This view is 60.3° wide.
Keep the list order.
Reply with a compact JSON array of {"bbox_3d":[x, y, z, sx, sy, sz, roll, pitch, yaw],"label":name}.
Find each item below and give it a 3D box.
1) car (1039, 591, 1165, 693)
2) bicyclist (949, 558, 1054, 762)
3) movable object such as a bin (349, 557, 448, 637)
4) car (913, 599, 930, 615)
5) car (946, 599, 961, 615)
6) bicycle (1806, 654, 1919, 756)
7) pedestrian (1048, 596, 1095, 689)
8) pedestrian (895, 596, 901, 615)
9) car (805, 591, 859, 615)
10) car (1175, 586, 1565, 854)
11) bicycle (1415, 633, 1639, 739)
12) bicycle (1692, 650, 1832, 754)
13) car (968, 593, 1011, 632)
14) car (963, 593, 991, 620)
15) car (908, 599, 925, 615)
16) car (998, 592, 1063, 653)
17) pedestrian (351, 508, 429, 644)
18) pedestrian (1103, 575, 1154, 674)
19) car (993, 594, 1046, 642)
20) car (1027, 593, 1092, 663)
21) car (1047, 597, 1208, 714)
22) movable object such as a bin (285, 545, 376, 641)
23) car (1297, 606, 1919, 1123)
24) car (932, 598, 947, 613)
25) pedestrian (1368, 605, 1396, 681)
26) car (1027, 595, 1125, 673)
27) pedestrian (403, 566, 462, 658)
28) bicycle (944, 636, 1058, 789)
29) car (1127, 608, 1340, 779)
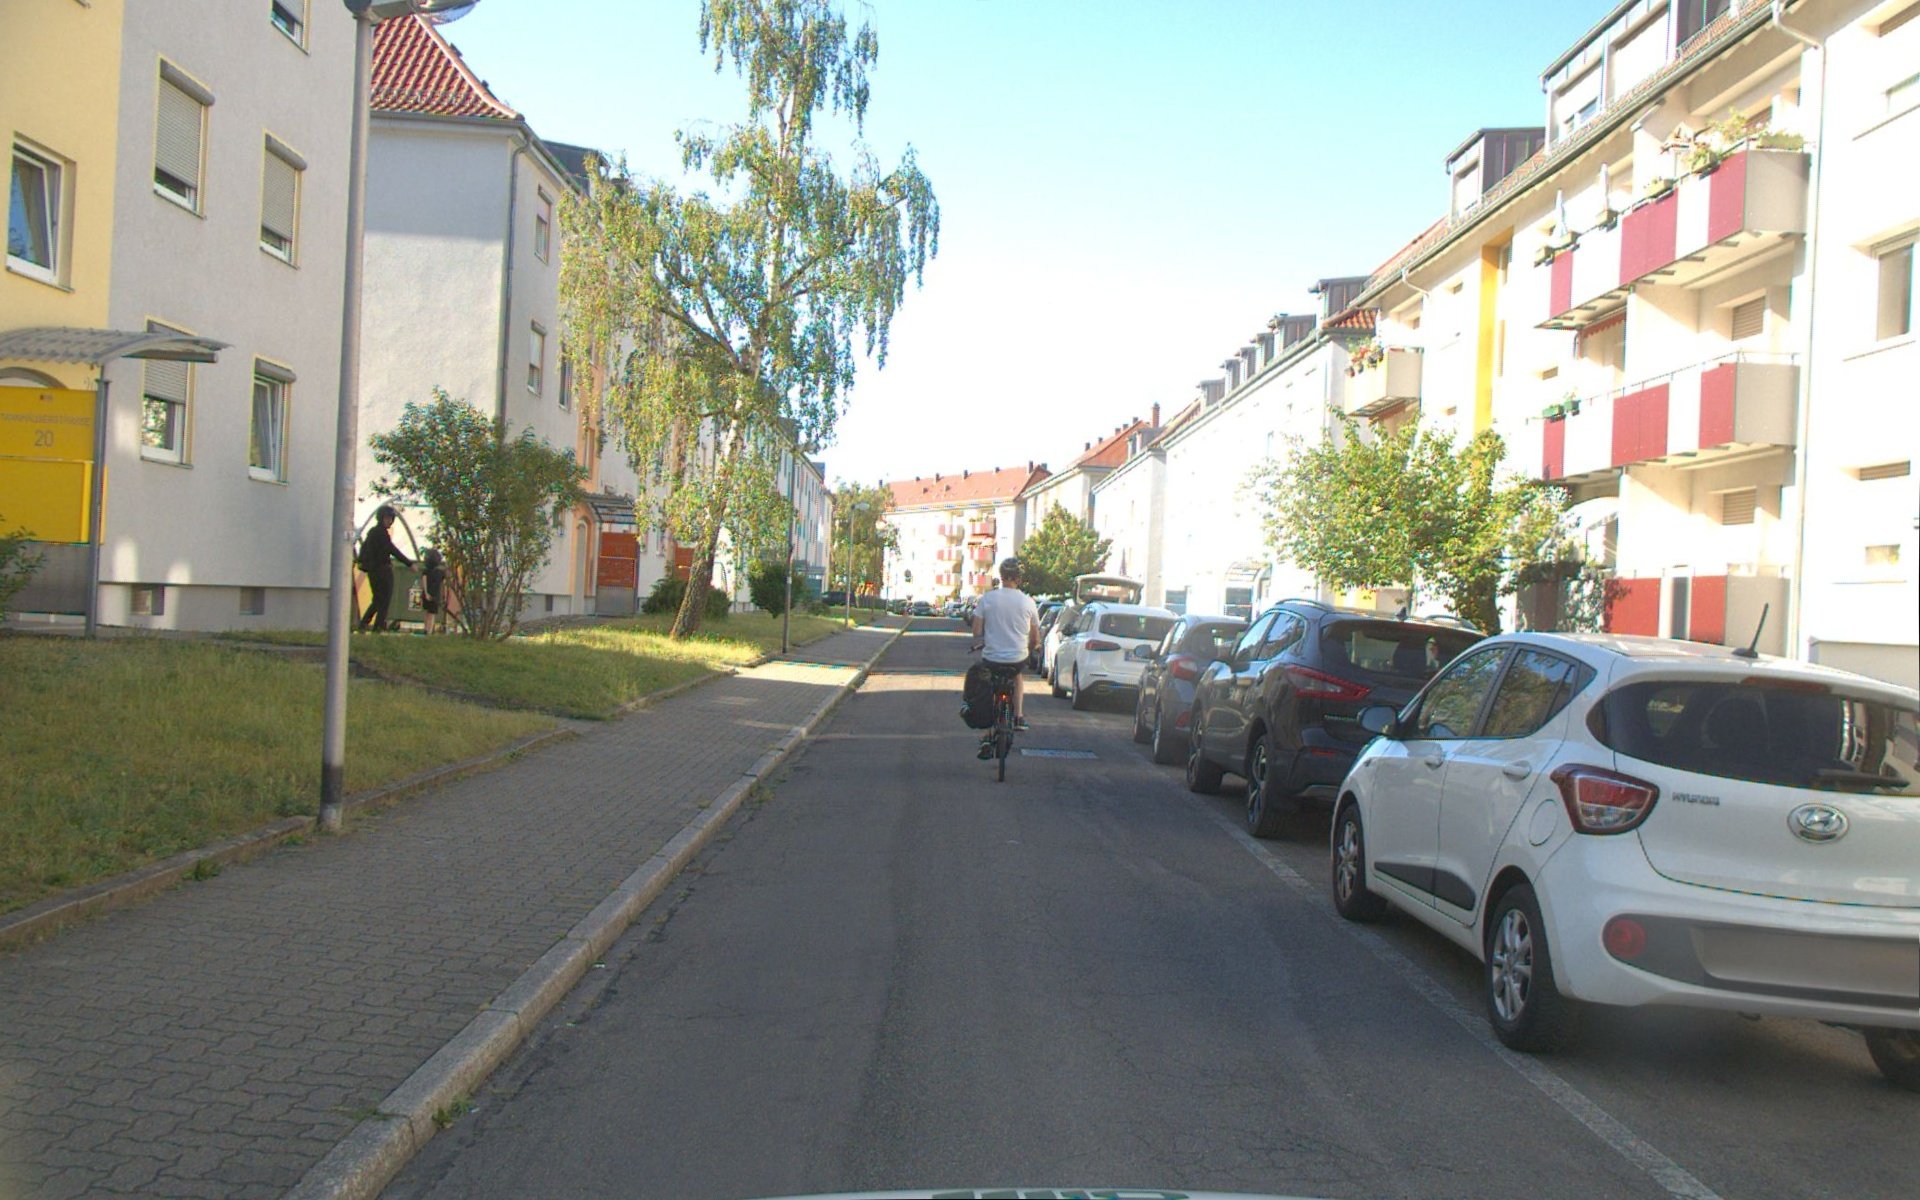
[{"bbox_3d":[2.602,0.731,31.361,1.953,1.641,4.996,4,0,1],"label":"car"},{"bbox_3d":[0.340,0.497,14.165,0.792,1.672,0.898,1,0,-3],"label":"bicyclist"},{"bbox_3d":[-10.457,-0.061,30.853,1.360,1.359,1.228,4,0,-1],"label":"movable object such as a bin"},{"bbox_3d":[-3.419,0.639,147.386,1.440,1.358,3.139,2,0,-3],"label":"car"},{"bbox_3d":[-0.629,0.711,164.456,1.354,1.523,3.075,2,0,-3],"label":"car"},{"bbox_3d":[10.641,1.199,19.290,0.510,1.055,1.975,1,0,-1],"label":"bicycle"},{"bbox_3d":[1.966,0.739,29.224,0.724,1.602,0.879,2,0,-1],"label":"pedestrian"},{"bbox_3d":[-5.397,0.453,143.978,0.425,1.602,0.543,2,0,-1],"label":"pedestrian"},{"bbox_3d":[-9.996,0.213,129.040,4.149,1.667,1.581,2,0,-5],"label":"car"},{"bbox_3d":[2.807,0.736,12.346,1.688,1.606,4.351,1,0,-2],"label":"car"},{"bbox_3d":[6.742,1.014,19.771,2.373,1.149,0.880,2,0,5],"label":"bicycle"},{"bbox_3d":[9.353,1.164,19.391,0.510,1.067,2.288,0,0,-1],"label":"bicycle"},{"bbox_3d":[1.403,0.606,80.597,1.824,1.697,4.126,4,0,-1],"label":"car"},{"bbox_3d":[1.173,0.438,115.248,1.641,1.769,3.940,3,0,-3],"label":"car"},{"bbox_3d":[-3.987,0.620,152.271,1.440,1.358,3.139,2,0,-3],"label":"car"},{"bbox_3d":[2.143,0.650,51.251,1.747,1.676,4.468,4,0,0],"label":"car"},{"bbox_3d":[-7.997,-0.336,23.223,0.789,1.855,0.718,2,0,0],"label":"pedestrian"},{"bbox_3d":[2.961,0.423,29.154,0.803,1.717,0.604,1,0,-2],"label":"pedestrian"},{"bbox_3d":[1.997,0.582,56.346,1.608,1.524,4.156,2,0,0],"label":"car"},{"bbox_3d":[2.453,0.666,41.080,1.449,1.555,2.942,4,0,3],"label":"car"},{"bbox_3d":[2.464,0.780,25.361,1.737,1.531,4.478,3,0,-3],"label":"car"},{"bbox_3d":[-9.932,-0.111,26.137,1.062,1.430,0.812,3,0,-1],"label":"movable object such as a bin"},{"bbox_3d":[2.814,0.883,7.231,1.679,1.535,3.852,5,0,-2],"label":"car"},{"bbox_3d":[-2.217,0.580,177.070,1.440,1.542,3.075,2,0,-3],"label":"car"},{"bbox_3d":[8.593,0.869,33.663,0.441,1.521,0.360,2,-2,0],"label":"pedestrian"},{"bbox_3d":[2.515,0.705,36.606,1.660,1.517,3.983,4,0,-2],"label":"car"},{"bbox_3d":[-7.959,0.179,24.965,0.672,1.340,0.575,2,0,0],"label":"pedestrian"},{"bbox_3d":[0.321,0.923,14.254,0.792,1.148,2.100,1,0,-3],"label":"bicycle"},{"bbox_3d":[2.776,0.885,17.586,1.613,1.474,4.061,4,0,2],"label":"car"}]
